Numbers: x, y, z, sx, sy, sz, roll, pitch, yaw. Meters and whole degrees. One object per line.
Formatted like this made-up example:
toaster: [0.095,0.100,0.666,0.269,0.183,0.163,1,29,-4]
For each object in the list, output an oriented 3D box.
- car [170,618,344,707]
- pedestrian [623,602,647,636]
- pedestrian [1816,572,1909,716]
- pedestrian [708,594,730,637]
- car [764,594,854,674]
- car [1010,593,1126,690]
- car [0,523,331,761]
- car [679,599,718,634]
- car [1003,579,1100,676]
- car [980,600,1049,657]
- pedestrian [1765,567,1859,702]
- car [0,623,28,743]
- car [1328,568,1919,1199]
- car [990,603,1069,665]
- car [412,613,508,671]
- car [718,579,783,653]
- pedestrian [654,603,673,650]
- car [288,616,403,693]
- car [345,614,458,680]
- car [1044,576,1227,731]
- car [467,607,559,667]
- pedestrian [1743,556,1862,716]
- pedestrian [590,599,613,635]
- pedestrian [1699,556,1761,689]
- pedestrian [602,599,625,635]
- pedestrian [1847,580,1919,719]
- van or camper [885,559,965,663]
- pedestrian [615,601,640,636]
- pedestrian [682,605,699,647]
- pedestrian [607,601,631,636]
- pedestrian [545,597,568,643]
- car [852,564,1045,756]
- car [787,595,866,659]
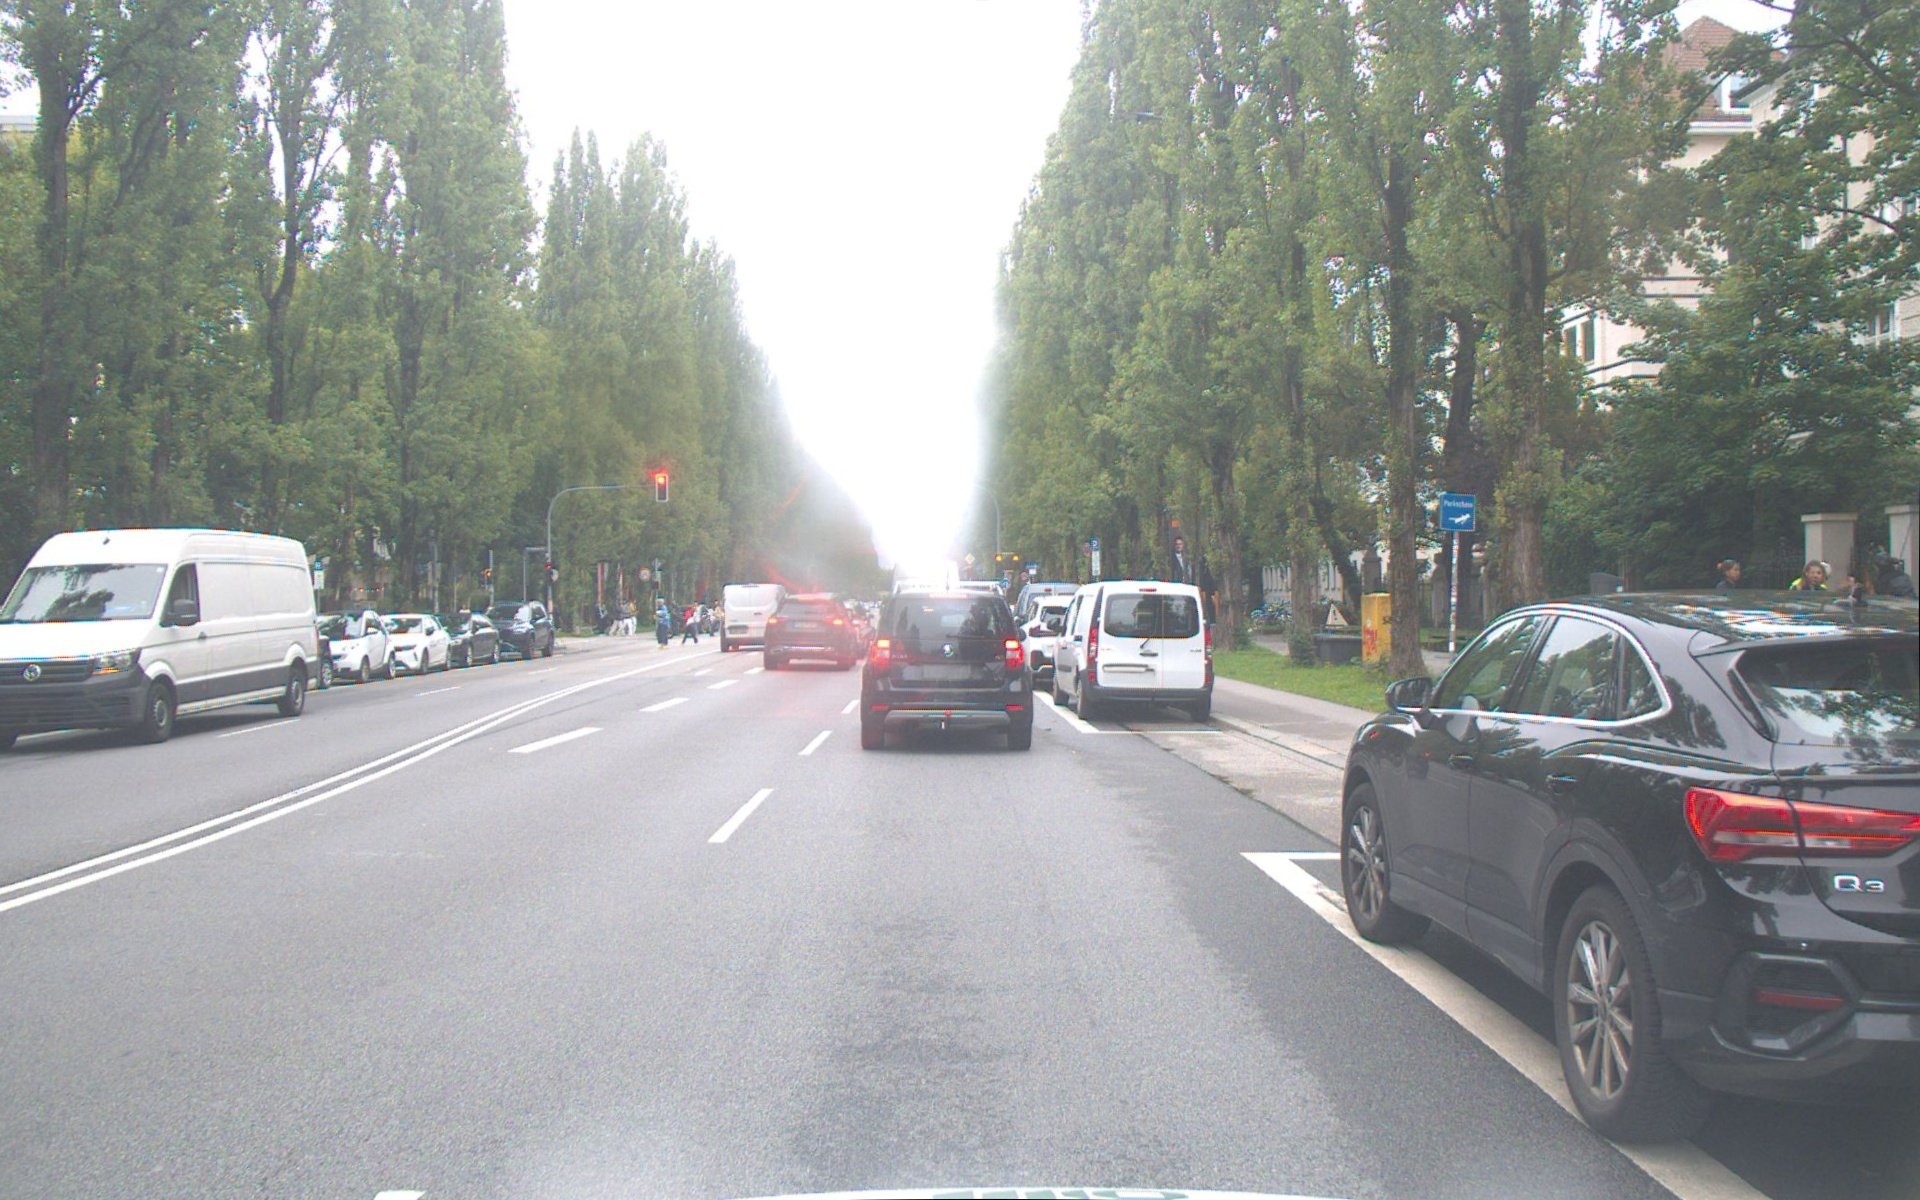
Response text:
car: [-13.109,1.122,31.074,1.568,1.450,3.851,-3,0,0]
pedestrian: [-16.305,0.935,82.928,0.874,1.684,0.865,-1,0,-39]
pedestrian: [10.357,0.491,18.999,0.556,1.606,0.867,-1,0,-2]
pedestrian: [-11.682,0.729,80.347,0.867,2.049,1.013,-1,0,1]
car: [-3.350,0.712,37.276,1.745,1.648,4.023,2,0,-2]
car: [1.884,0.691,30.030,1.706,1.620,4.210,-1,0,-2]
car: [-10.354,0.466,21.336,2.184,2.526,6.753,-2,0,-4]
car: [-14.482,0.897,91.833,1.654,1.814,3.773,-1,0,-2]
car: [1.899,0.533,35.306,1.700,1.928,4.023,-1,0,-2]
car: [1.506,0.782,46.672,1.700,1.501,3.561,-1,0,-2]
pedestrian: [11.780,0.465,22.891,0.787,1.813,0.816,-1,0,-19]
car: [-12.709,1.091,19.324,1.675,1.476,3.584,-3,0,-3]
car: [2.765,0.692,5.861,1.842,1.567,4.463,-1,0,-1]
car: [1.680,0.810,41.170,1.700,1.411,3.561,-1,0,-2]
car: [-13.746,1.118,45.654,1.591,1.413,4.163,-3,0,-4]
car: [-6.317,0.465,50.171,1.746,2.148,4.021,0,0,-5]
pedestrian: [-10.260,0.904,57.152,0.517,1.605,0.662,-1,0,-1]
car: [-13.268,1.154,35.854,1.399,1.472,2.965,-4,0,-2]
car: [-13.475,1.098,40.106,1.592,1.413,4.162,-3,0,-5]
car: [2.306,0.657,22.803,1.814,1.914,4.165,-1,0,-4]
car: [-13.866,1.104,51.535,1.813,1.683,4.692,-3,0,-4]
pedestrian: [9.541,0.398,18.762,0.836,1.747,0.867,-2,0,-2]
pedestrian: [-18.141,0.864,83.657,0.861,1.795,0.879,-1,0,8]
pedestrian: [11.181,0.324,24.021,0.479,1.895,0.635,-1,0,-19]
pedestrian: [-17.368,0.840,82.888,0.861,1.795,0.879,-1,0,8]
pedestrian: [12.949,0.666,22.859,0.889,1.831,0.825,-1,2,-23]
van or camper: [-0.963,0.263,43.528,1.936,2.593,4.022,-1,0,-3]
pedestrian: [-16.348,0.919,81.264,0.874,1.684,0.865,-1,0,-39]
pedestrian: [-9.872,0.954,60.560,0.507,1.511,0.536,-1,0,-1]
pedestrian: [-16.912,0.921,81.950,0.874,1.684,0.865,-1,0,-39]
pedestrian: [-14.201,0.714,58.229,0.647,1.605,0.530,-1,0,-1]
car: [-0.156,0.573,17.870,1.818,1.801,3.999,1,0,-2]
car: [-3.538,0.678,44.444,1.954,1.588,3.998,-1,1,-3]
